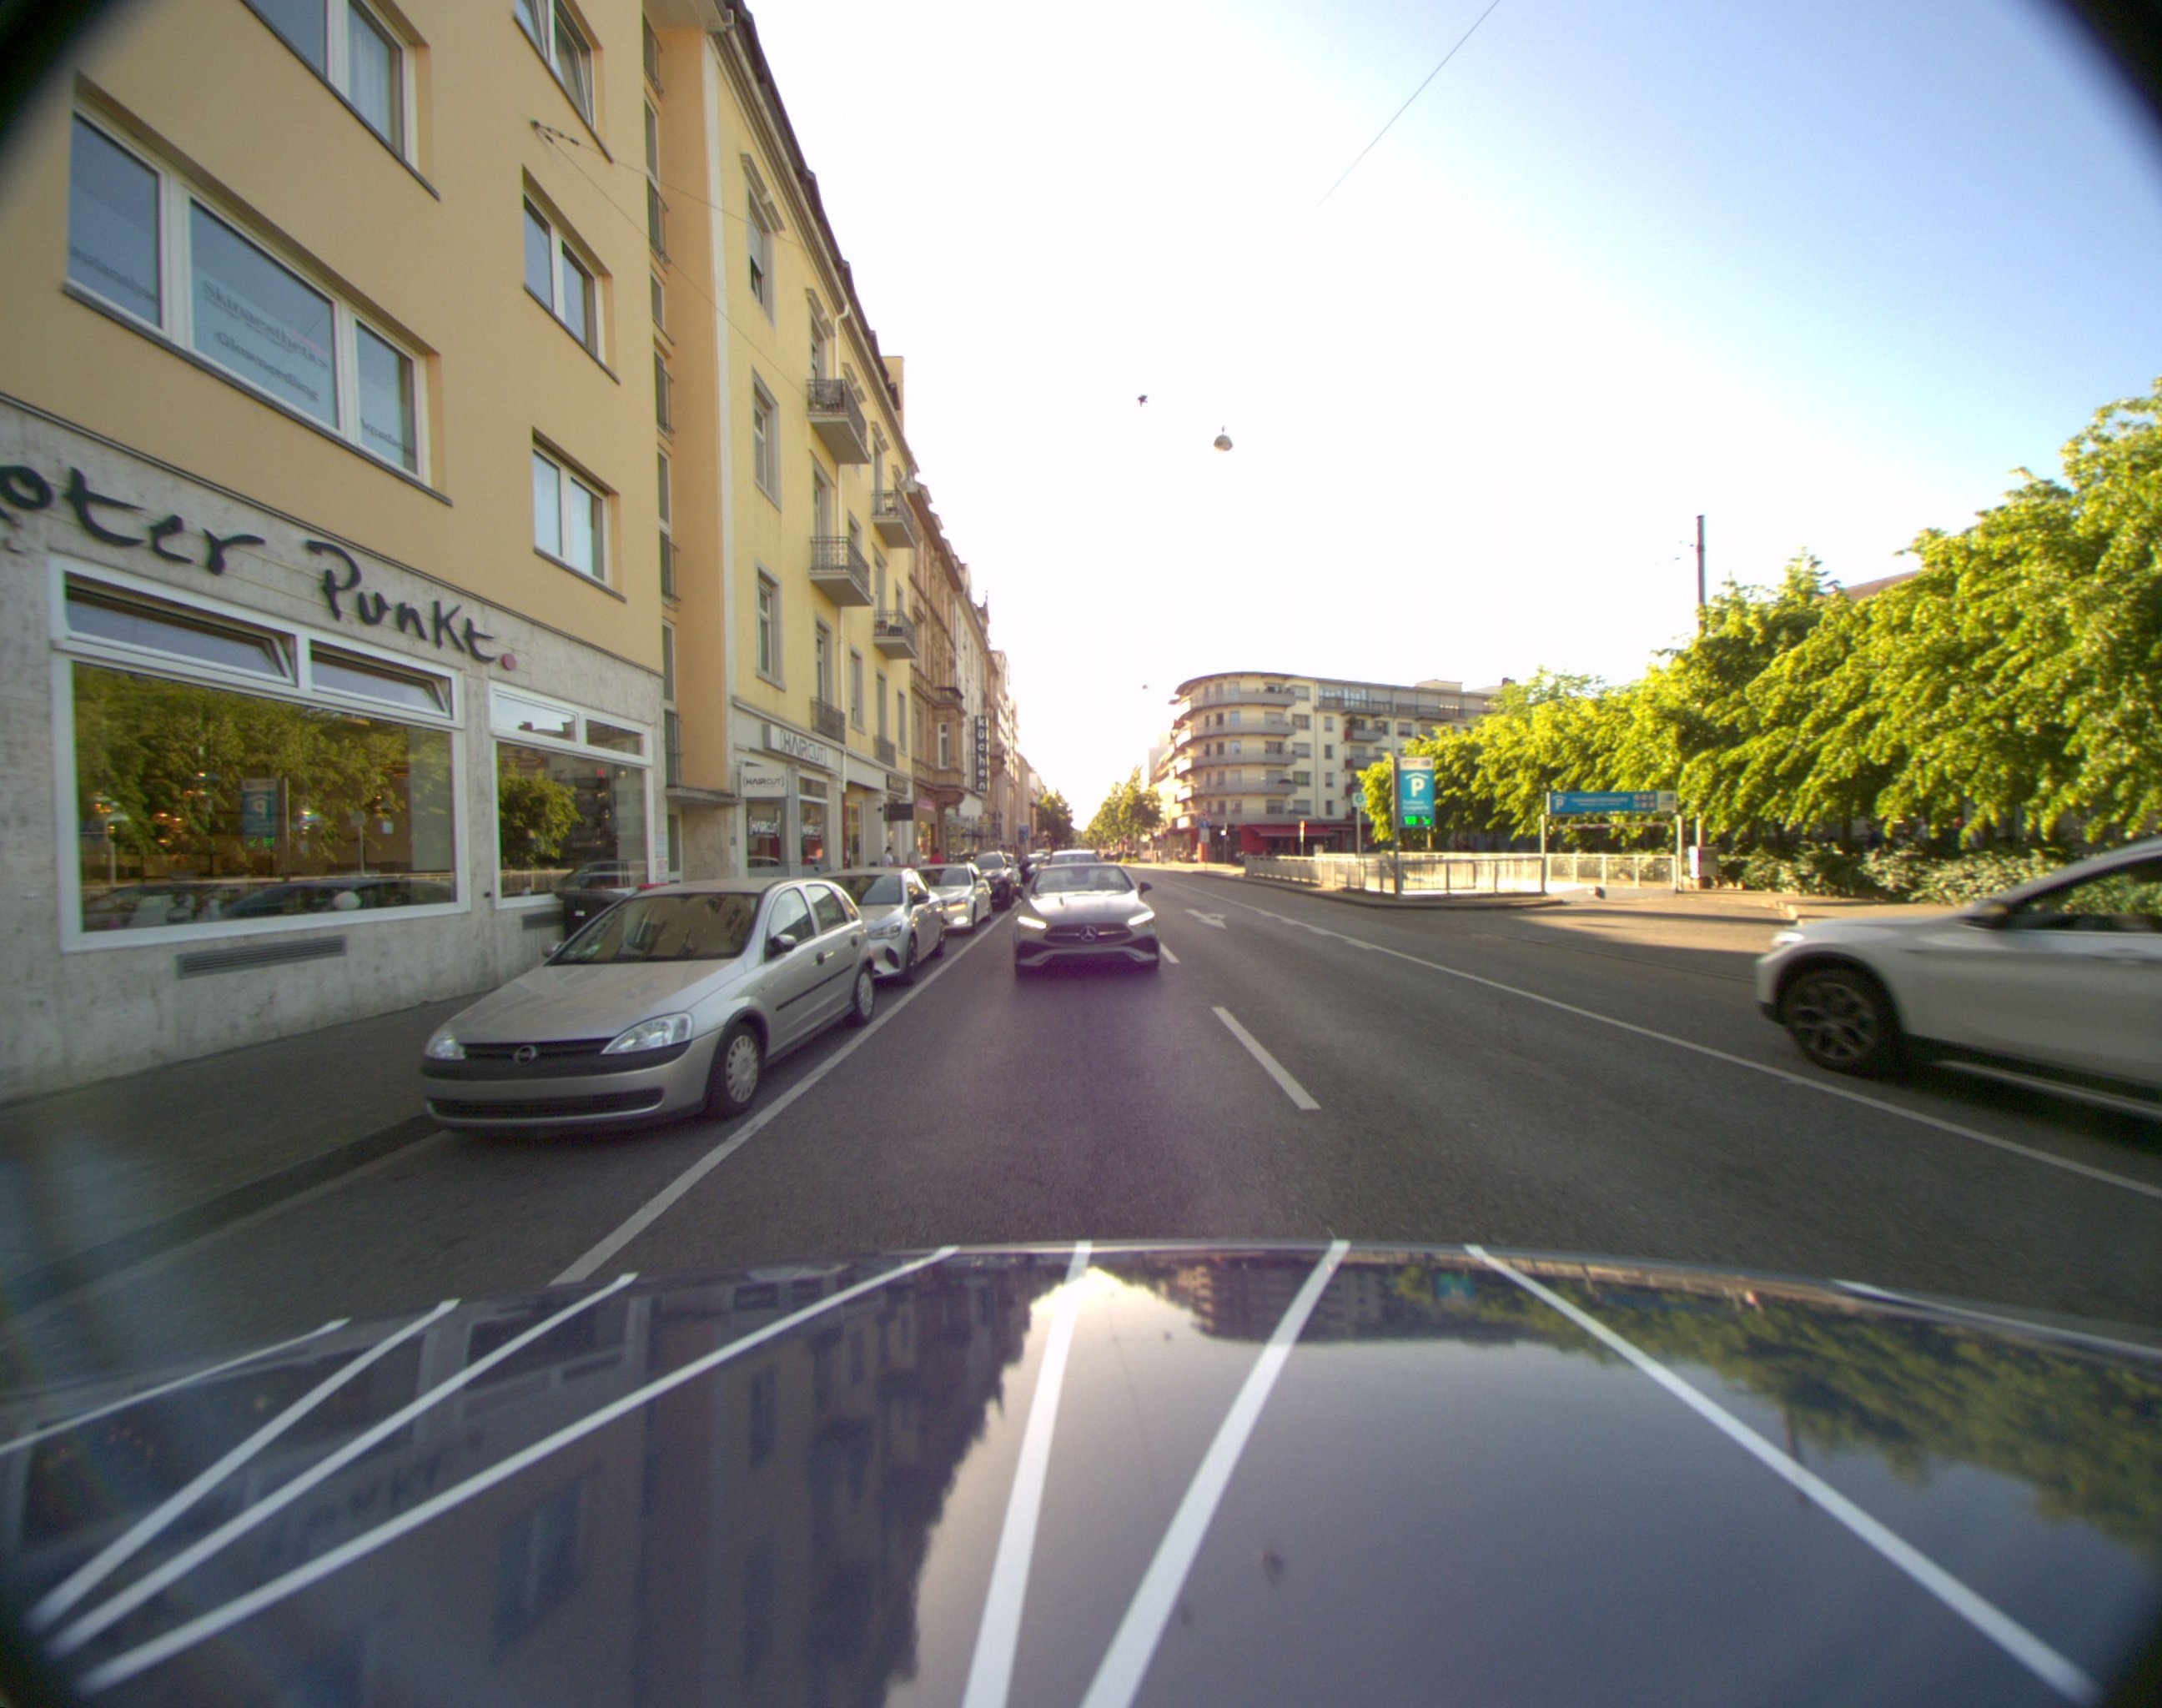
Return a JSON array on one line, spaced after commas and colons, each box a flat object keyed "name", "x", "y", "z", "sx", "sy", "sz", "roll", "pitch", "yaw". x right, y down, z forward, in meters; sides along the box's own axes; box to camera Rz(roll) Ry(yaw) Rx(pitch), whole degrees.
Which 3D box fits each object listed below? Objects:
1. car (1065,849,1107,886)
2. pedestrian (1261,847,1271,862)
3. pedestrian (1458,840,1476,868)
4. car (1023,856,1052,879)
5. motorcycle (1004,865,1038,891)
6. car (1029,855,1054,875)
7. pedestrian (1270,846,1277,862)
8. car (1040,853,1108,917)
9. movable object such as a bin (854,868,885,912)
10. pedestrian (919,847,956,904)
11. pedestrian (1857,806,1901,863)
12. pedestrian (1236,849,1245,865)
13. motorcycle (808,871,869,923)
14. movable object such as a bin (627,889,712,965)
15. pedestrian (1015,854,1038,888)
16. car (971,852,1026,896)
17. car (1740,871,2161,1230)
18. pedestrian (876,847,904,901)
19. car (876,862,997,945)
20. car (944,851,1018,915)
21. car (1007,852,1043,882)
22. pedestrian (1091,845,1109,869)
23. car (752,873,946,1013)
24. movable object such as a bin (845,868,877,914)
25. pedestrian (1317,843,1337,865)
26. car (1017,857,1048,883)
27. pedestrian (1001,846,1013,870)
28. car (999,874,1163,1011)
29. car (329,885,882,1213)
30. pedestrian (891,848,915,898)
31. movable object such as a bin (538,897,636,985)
[{"name": "car", "x": 0.272, "y": 0.646, "z": 38.606, "sx": 1.952, "sy": 1.742, "sz": 4.000, "roll": -2, "pitch": 0, "yaw": 1}, {"name": "pedestrian", "x": 17.649, "y": 0.041, "z": 72.473, "sx": 0.583, "sy": 1.453, "sz": 0.790, "roll": -2, "pitch": 1, "yaw": -37}, {"name": "pedestrian", "x": 25.888, "y": -0.008, "z": 50.941, "sx": 0.755, "sy": 1.795, "sz": 0.756, "roll": -2, "pitch": 1, "yaw": -16}, {"name": "car", "x": -2.953, "y": 0.903, "z": 52.269, "sx": 1.715, "sy": 1.477, "sz": 3.999, "roll": -2, "pitch": 0, "yaw": -1}, {"name": "motorcycle", "x": -2.987, "y": 1.186, "z": 38.058, "sx": 0.769, "sy": 1.225, "sz": 1.546, "roll": -1, "pitch": 1, "yaw": 42}, {"name": "car", "x": -3.013, "y": 0.831, "z": 58.864, "sx": 1.715, "sy": 1.477, "sz": 4.062, "roll": -2, "pitch": 0, "yaw": -1}, {"name": "pedestrian", "x": 17.912, "y": 0.008, "z": 70.818, "sx": 0.581, "sy": 1.481, "sz": 0.793, "roll": -1, "pitch": 1, "yaw": 13}, {"name": "car", "x": -0.163, "y": 0.804, "z": 21.718, "sx": 1.716, "sy": 1.599, "sz": 4.000, "roll": -2, "pitch": 0, "yaw": 1}, {"name": "movable object such as a bin", "x": -5.947, "y": 0.998, "z": 21.400, "sx": 0.647, "sy": 1.200, "sz": 0.644, "roll": -1, "pitch": 1, "yaw": 1}, {"name": "pedestrian", "x": -4.669, "y": 0.686, "z": 24.779, "sx": 0.866, "sy": 1.774, "sz": 1.009, "roll": 3, "pitch": 1, "yaw": 3}, {"name": "pedestrian", "x": 23.787, "y": -0.566, "z": 22.656, "sx": 0.848, "sy": 1.661, "sz": 0.677, "roll": -2, "pitch": 1, "yaw": -27}, {"name": "pedestrian", "x": 15.020, "y": 0.311, "z": 71.586, "sx": 0.791, "sy": 1.452, "sz": 0.583, "roll": -1, "pitch": 1, "yaw": 10}, {"name": "motorcycle", "x": -6.066, "y": 1.053, "z": 19.160, "sx": 0.773, "sy": 1.158, "sz": 2.247, "roll": 1, "pitch": 0, "yaw": 1}, {"name": "movable object such as a bin", "x": -6.172, "y": 1.079, "z": 11.439, "sx": 0.752, "sy": 1.047, "sz": 0.893, "roll": -1, "pitch": 1, "yaw": 1}, {"name": "pedestrian", "x": -2.698, "y": 0.835, "z": 37.791, "sx": 0.832, "sy": 1.657, "sz": 0.695, "roll": -1, "pitch": 1, "yaw": 34}, {"name": "car", "x": -3.144, "y": 0.738, "z": 29.461, "sx": 1.696, "sy": 1.559, "sz": 3.018, "roll": -2, "pitch": 0, "yaw": 1}, {"name": "car", "x": 5.747, "y": 0.937, "z": 3.360, "sx": 1.812, "sy": 1.546, "sz": 4.309, "roll": 2, "pitch": 0, "yaw": -1}, {"name": "pedestrian", "x": -5.868, "y": 0.607, "z": 23.371, "sx": 0.642, "sy": 1.607, "sz": 0.701, "roll": -2, "pitch": 1, "yaw": -1}, {"name": "car", "x": -2.957, "y": 0.948, "z": 16.523, "sx": 1.759, "sy": 1.453, "sz": 4.597, "roll": -2, "pitch": 0, "yaw": -1}, {"name": "car", "x": -2.898, "y": 0.770, "z": 22.883, "sx": 1.858, "sy": 1.688, "sz": 4.697, "roll": -2, "pitch": 0, "yaw": -4}, {"name": "car", "x": -3.038, "y": 0.683, "z": 41.992, "sx": 1.715, "sy": 1.477, "sz": 3.999, "roll": -2, "pitch": 0, "yaw": -1}, {"name": "pedestrian", "x": 1.591, "y": 0.278, "z": 64.348, "sx": 1.200, "sy": 2.002, "sz": 1.019, "roll": -2, "pitch": 1, "yaw": -14}, {"name": "car", "x": -2.885, "y": 1.021, "z": 10.239, "sx": 1.654, "sy": 1.390, "sz": 3.704, "roll": -2, "pitch": 0, "yaw": -4}, {"name": "movable object such as a bin", "x": -5.995, "y": 1.001, "z": 20.748, "sx": 0.647, "sy": 1.200, "sz": 0.644, "roll": -1, "pitch": 1, "yaw": 1}, {"name": "pedestrian", "x": 22.988, "y": 0.041, "z": 70.917, "sx": 1.234, "sy": 2.002, "sz": 1.259, "roll": -2, "pitch": 1, "yaw": -22}, {"name": "car", "x": -3.008, "y": 0.952, "z": 47.751, "sx": 1.715, "sy": 1.477, "sz": 3.999, "roll": -2, "pitch": 0, "yaw": -1}, {"name": "pedestrian", "x": -5.233, "y": 0.283, "z": 53.756, "sx": 0.795, "sy": 1.607, "sz": 0.763, "roll": -2, "pitch": 1, "yaw": -2}, {"name": "car", "x": -0.026, "y": 1.076, "z": 10.887, "sx": 1.849, "sy": 1.371, "sz": 4.255, "roll": -2, "pitch": 0, "yaw": -1}, {"name": "car", "x": -2.805, "y": 1.034, "z": 5.540, "sx": 1.617, "sy": 1.374, "sz": 3.642, "roll": -3, "pitch": 0, "yaw": 1}, {"name": "pedestrian", "x": -5.834, "y": 0.611, "z": 24.935, "sx": 0.572, "sy": 1.607, "sz": 0.643, "roll": -2, "pitch": 1, "yaw": 1}, {"name": "movable object such as a bin", "x": -6.217, "y": 1.087, "z": 9.593, "sx": 0.812, "sy": 1.022, "sz": 0.602, "roll": -1, "pitch": 1, "yaw": 1}]
